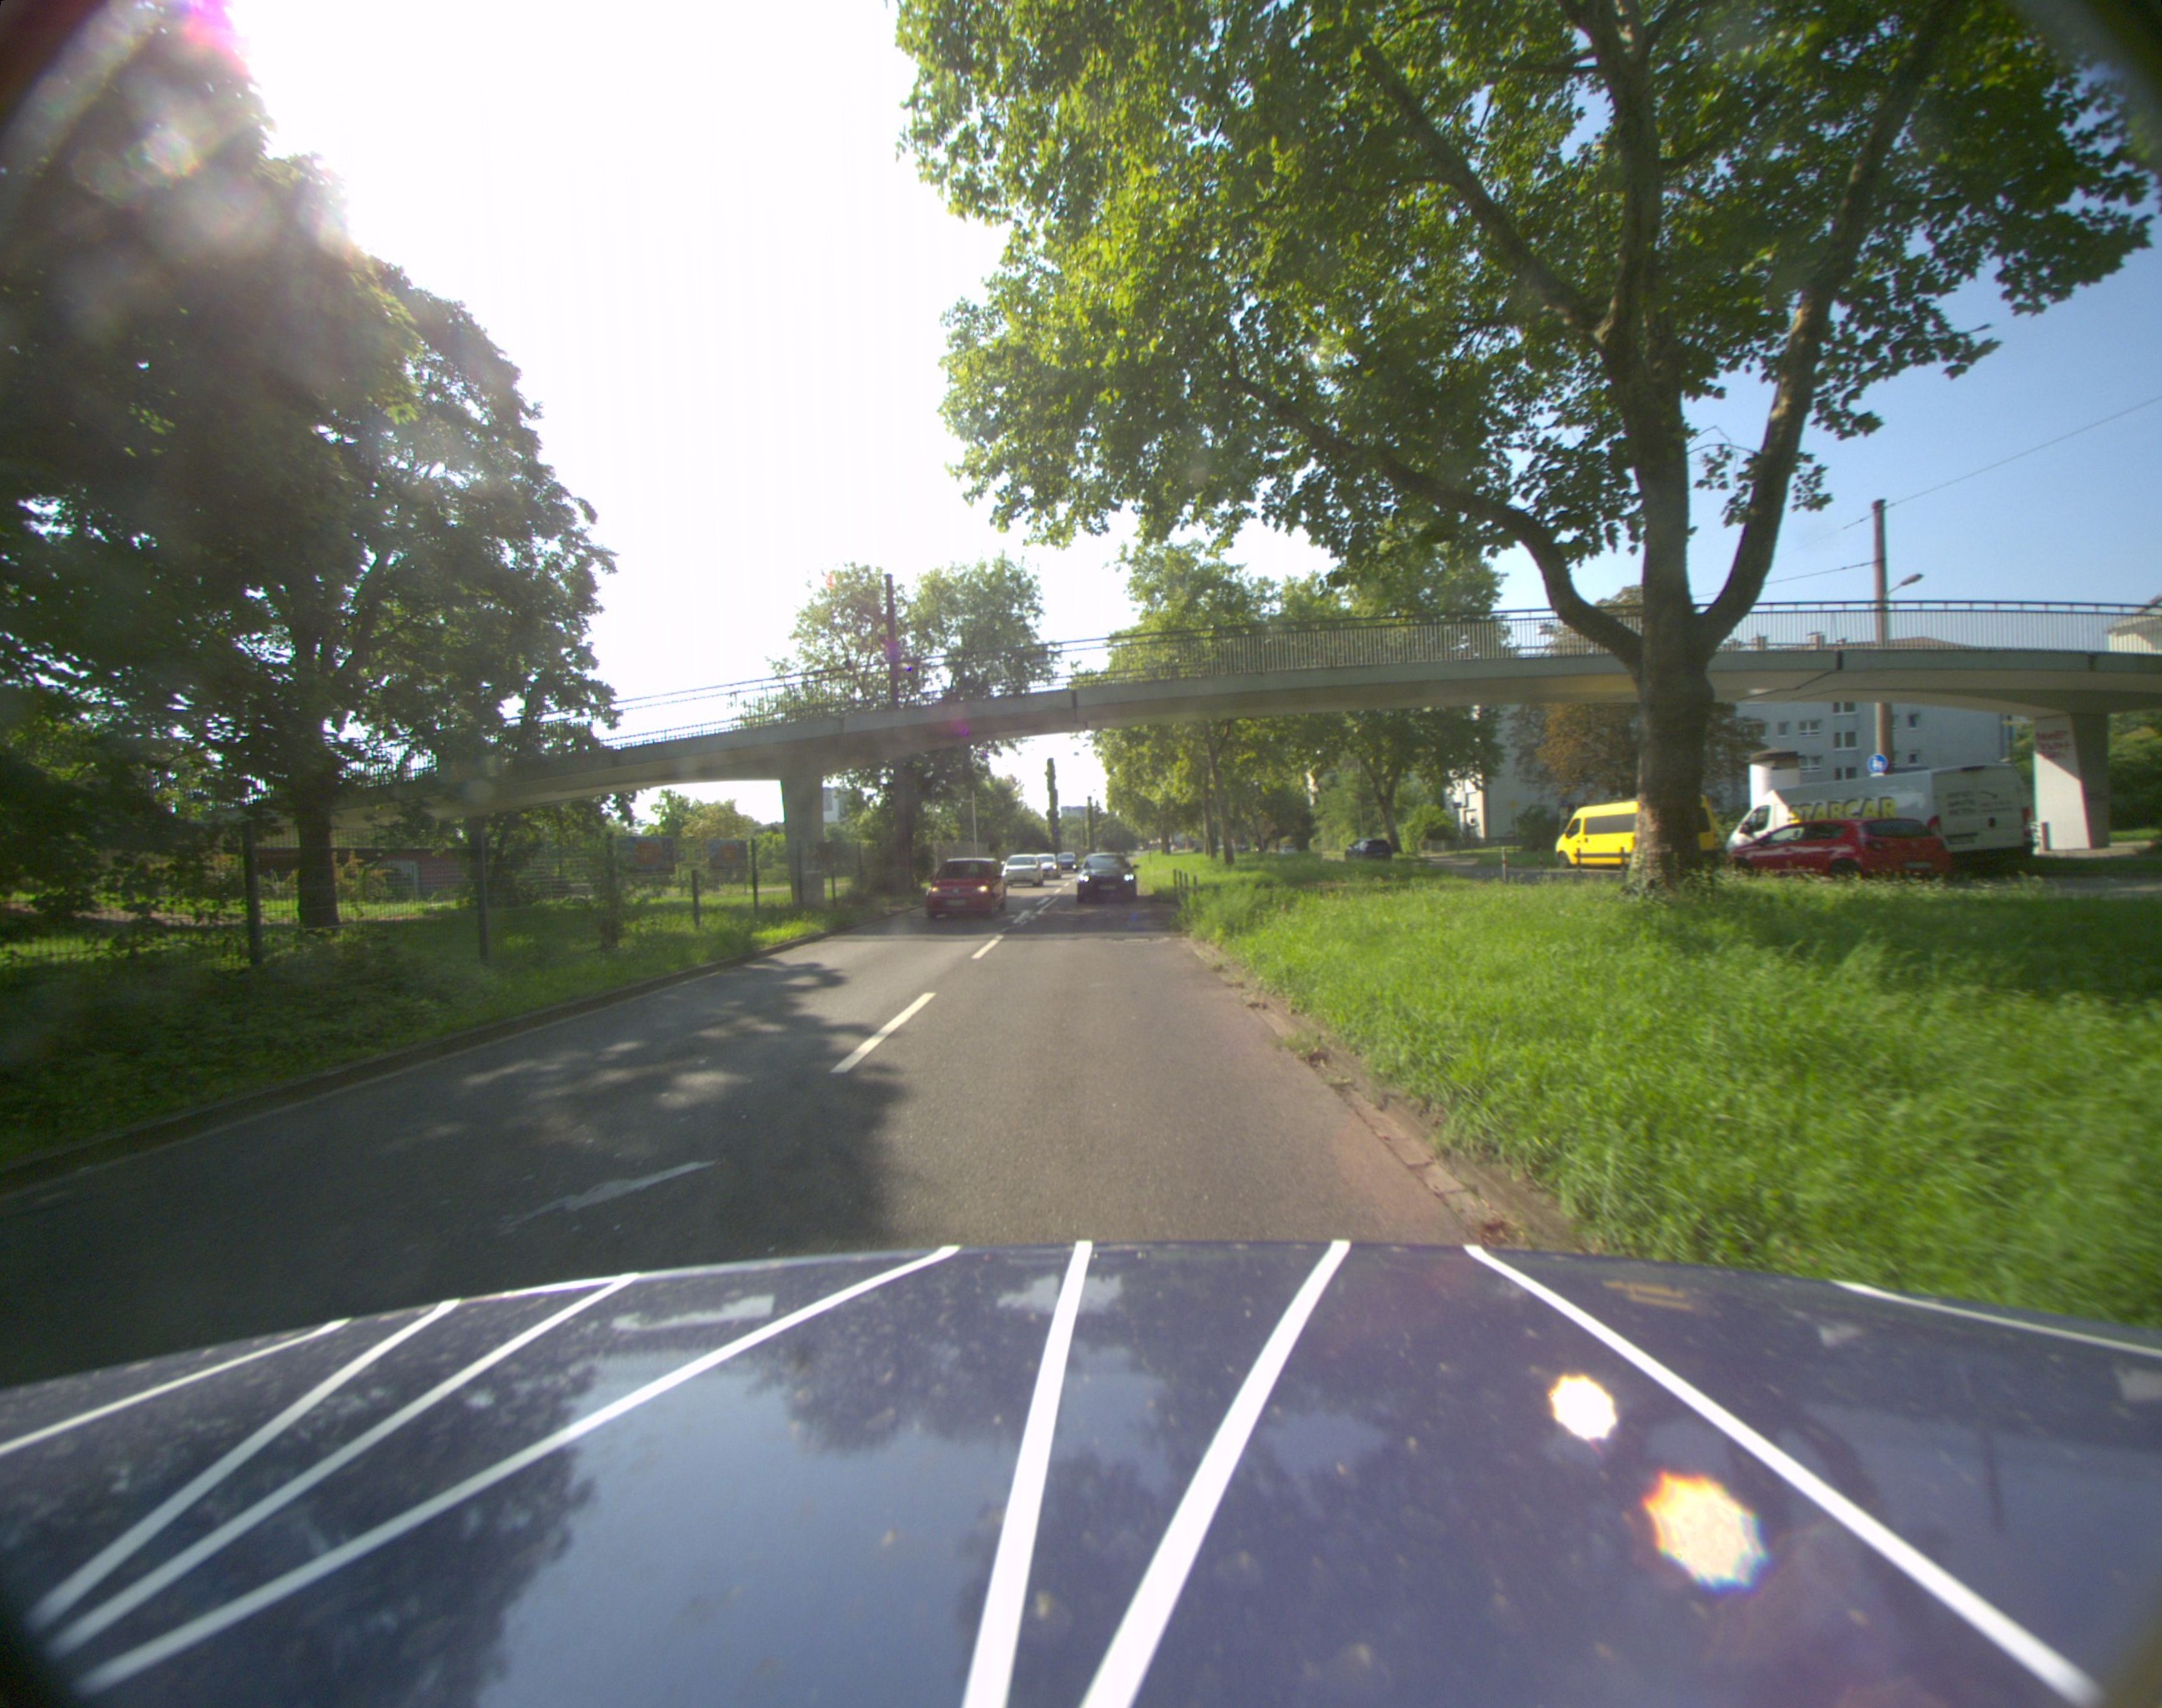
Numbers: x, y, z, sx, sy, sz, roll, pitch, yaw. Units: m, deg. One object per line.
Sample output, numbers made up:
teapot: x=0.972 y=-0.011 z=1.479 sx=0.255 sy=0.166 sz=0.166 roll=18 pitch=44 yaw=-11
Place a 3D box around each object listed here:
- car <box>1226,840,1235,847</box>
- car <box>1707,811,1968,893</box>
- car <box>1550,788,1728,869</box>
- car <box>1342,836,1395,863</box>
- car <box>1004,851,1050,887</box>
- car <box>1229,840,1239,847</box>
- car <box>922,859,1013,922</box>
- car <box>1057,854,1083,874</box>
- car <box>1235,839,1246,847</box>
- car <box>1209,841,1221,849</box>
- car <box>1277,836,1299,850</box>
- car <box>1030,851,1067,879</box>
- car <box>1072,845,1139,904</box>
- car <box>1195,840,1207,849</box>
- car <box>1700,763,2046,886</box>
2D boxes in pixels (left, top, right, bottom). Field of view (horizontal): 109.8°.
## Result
car: x=30.125 y=-2.158 z=153.111 sx=1.612 sy=1.398 sz=3.524 roll=-2 pitch=1 yaw=6
car: x=16.466 y=-0.063 z=16.880 sx=1.695 sy=1.524 sz=4.069 roll=-3 pitch=1 yaw=-1
car: x=19.819 y=-0.870 z=27.464 sx=2.213 sy=2.465 sz=6.061 roll=-3 pitch=1 yaw=4
car: x=17.876 y=-0.331 z=47.421 sx=1.791 sy=1.524 sz=4.456 roll=-3 pitch=1 yaw=3
car: x=-2.517 y=0.672 z=36.213 sx=1.649 sy=1.467 sz=3.899 roll=-3 pitch=1 yaw=3
car: x=29.865 y=-2.017 z=148.072 sx=1.612 sy=1.284 sz=3.523 roll=-3 pitch=1 yaw=6
car: x=-2.872 y=0.885 z=19.881 sx=1.578 sy=1.391 sz=3.472 roll=-2 pitch=1 yaw=4
car: x=-0.876 y=0.766 z=60.105 sx=1.649 sy=1.378 sz=3.899 roll=-3 pitch=1 yaw=4
car: x=28.584 y=-2.039 z=136.331 sx=1.612 sy=1.284 sz=3.523 roll=-3 pitch=1 yaw=6
car: x=26.426 y=-1.797 z=149.922 sx=1.649 sy=1.356 sz=3.899 roll=-3 pitch=0 yaw=3
car: x=23.865 y=-1.242 z=87.509 sx=1.649 sy=1.471 sz=3.899 roll=-3 pitch=1 yaw=4
car: x=-1.895 y=0.610 z=45.023 sx=1.649 sy=1.467 sz=3.899 roll=-3 pitch=1 yaw=4
car: x=0.851 y=0.584 z=23.950 sx=1.862 sy=1.572 sz=3.612 roll=-3 pitch=1 yaw=4
car: x=23.588 y=-1.864 z=149.195 sx=1.779 sy=1.607 sz=4.857 roll=-3 pitch=1 yaw=4
car: x=19.459 y=-0.683 z=19.349 sx=2.213 sy=2.416 sz=6.264 roll=-5 pitch=1 yaw=1
